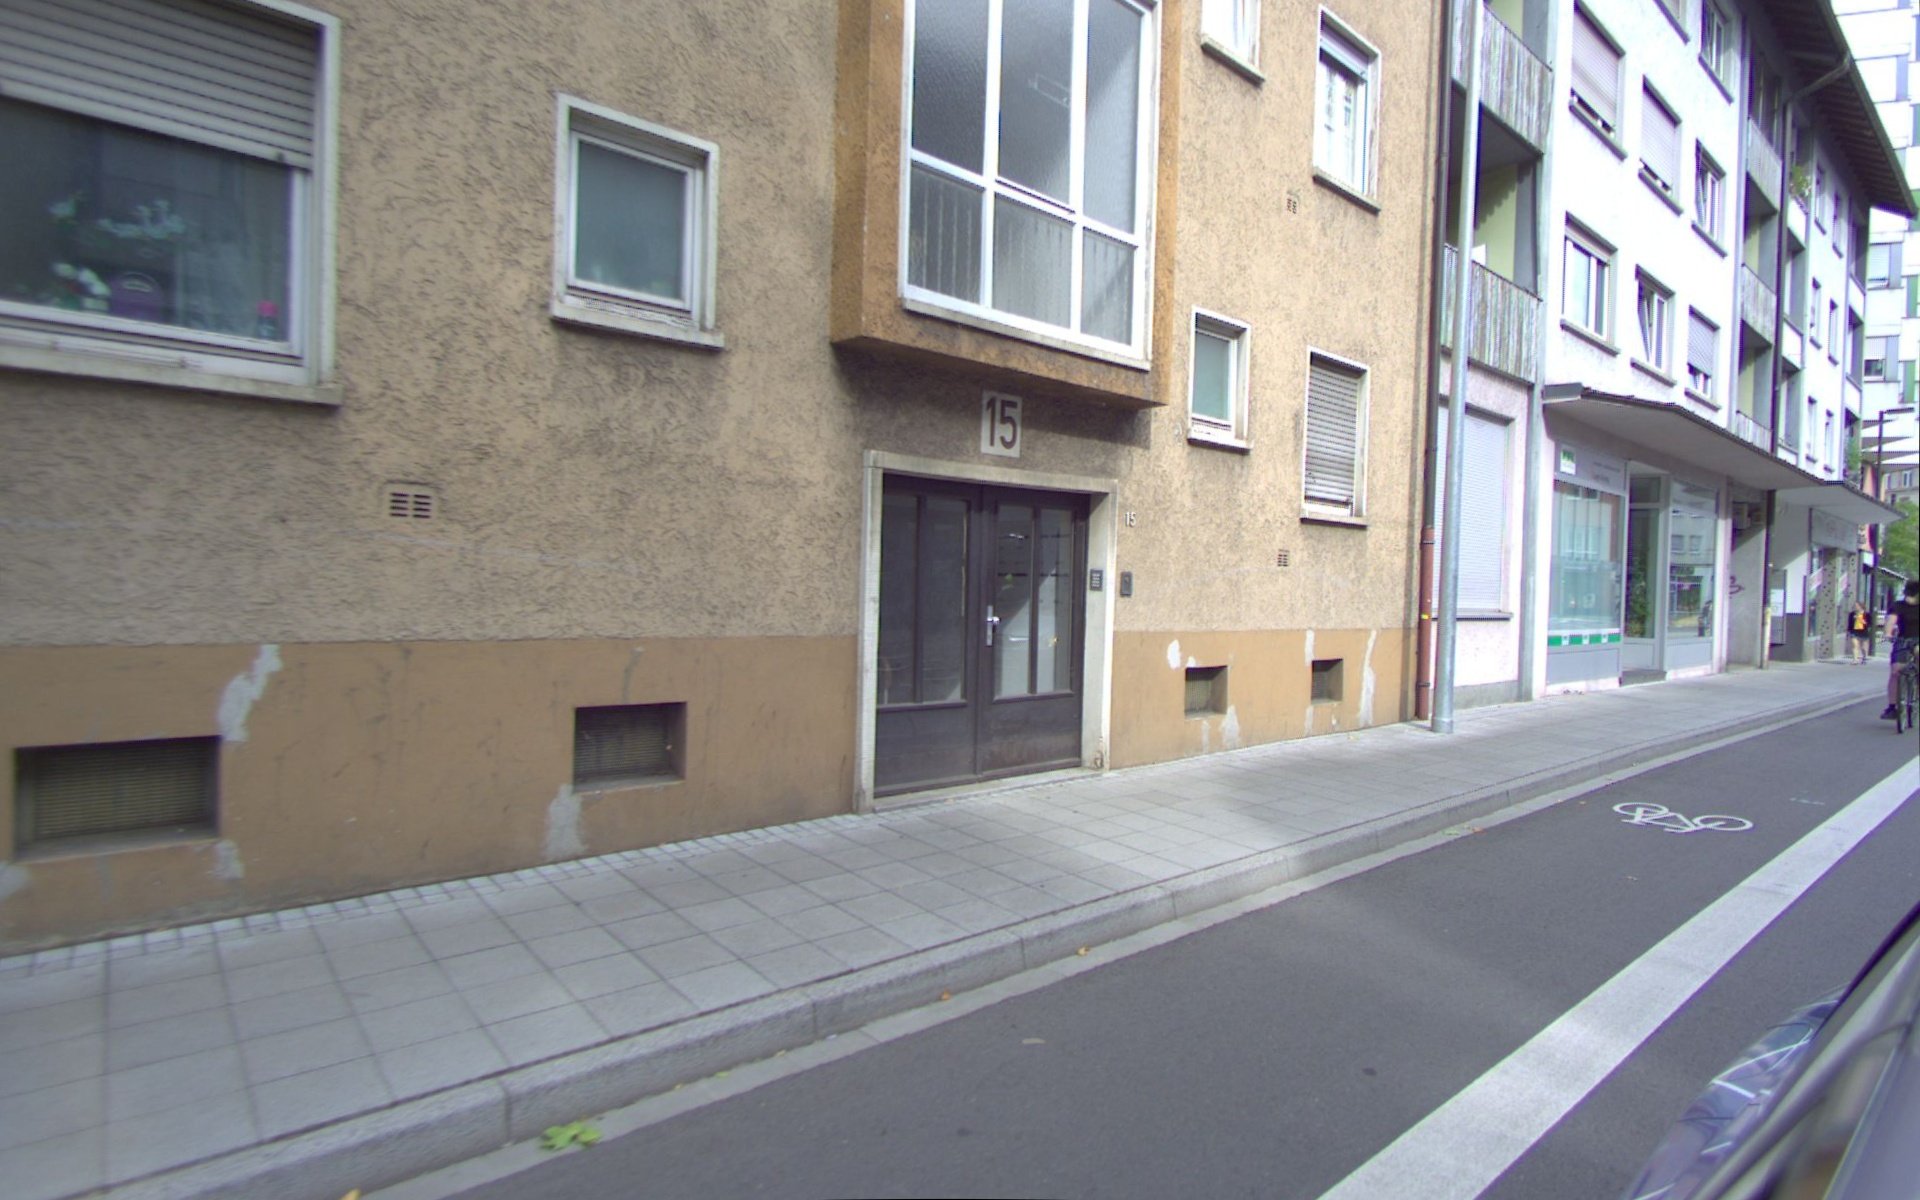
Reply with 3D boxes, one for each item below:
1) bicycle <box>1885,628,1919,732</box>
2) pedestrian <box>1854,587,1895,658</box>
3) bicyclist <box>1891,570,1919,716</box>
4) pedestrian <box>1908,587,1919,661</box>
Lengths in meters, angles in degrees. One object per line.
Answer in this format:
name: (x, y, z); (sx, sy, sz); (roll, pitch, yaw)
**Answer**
bicycle: (11.611, 0.928, 12.216); (1.981, 1.136, 0.406); (0, 0, -40)
pedestrian: (22.611, 0.544, 25.024); (0.928, 1.689, 0.605); (1, 1, -42)
bicyclist: (11.815, 0.522, 12.344); (0.848, 1.731, 0.559); (1, 1, -42)
pedestrian: (23.212, 0.582, 24.123); (0.844, 1.772, 0.753); (1, 1, -40)
